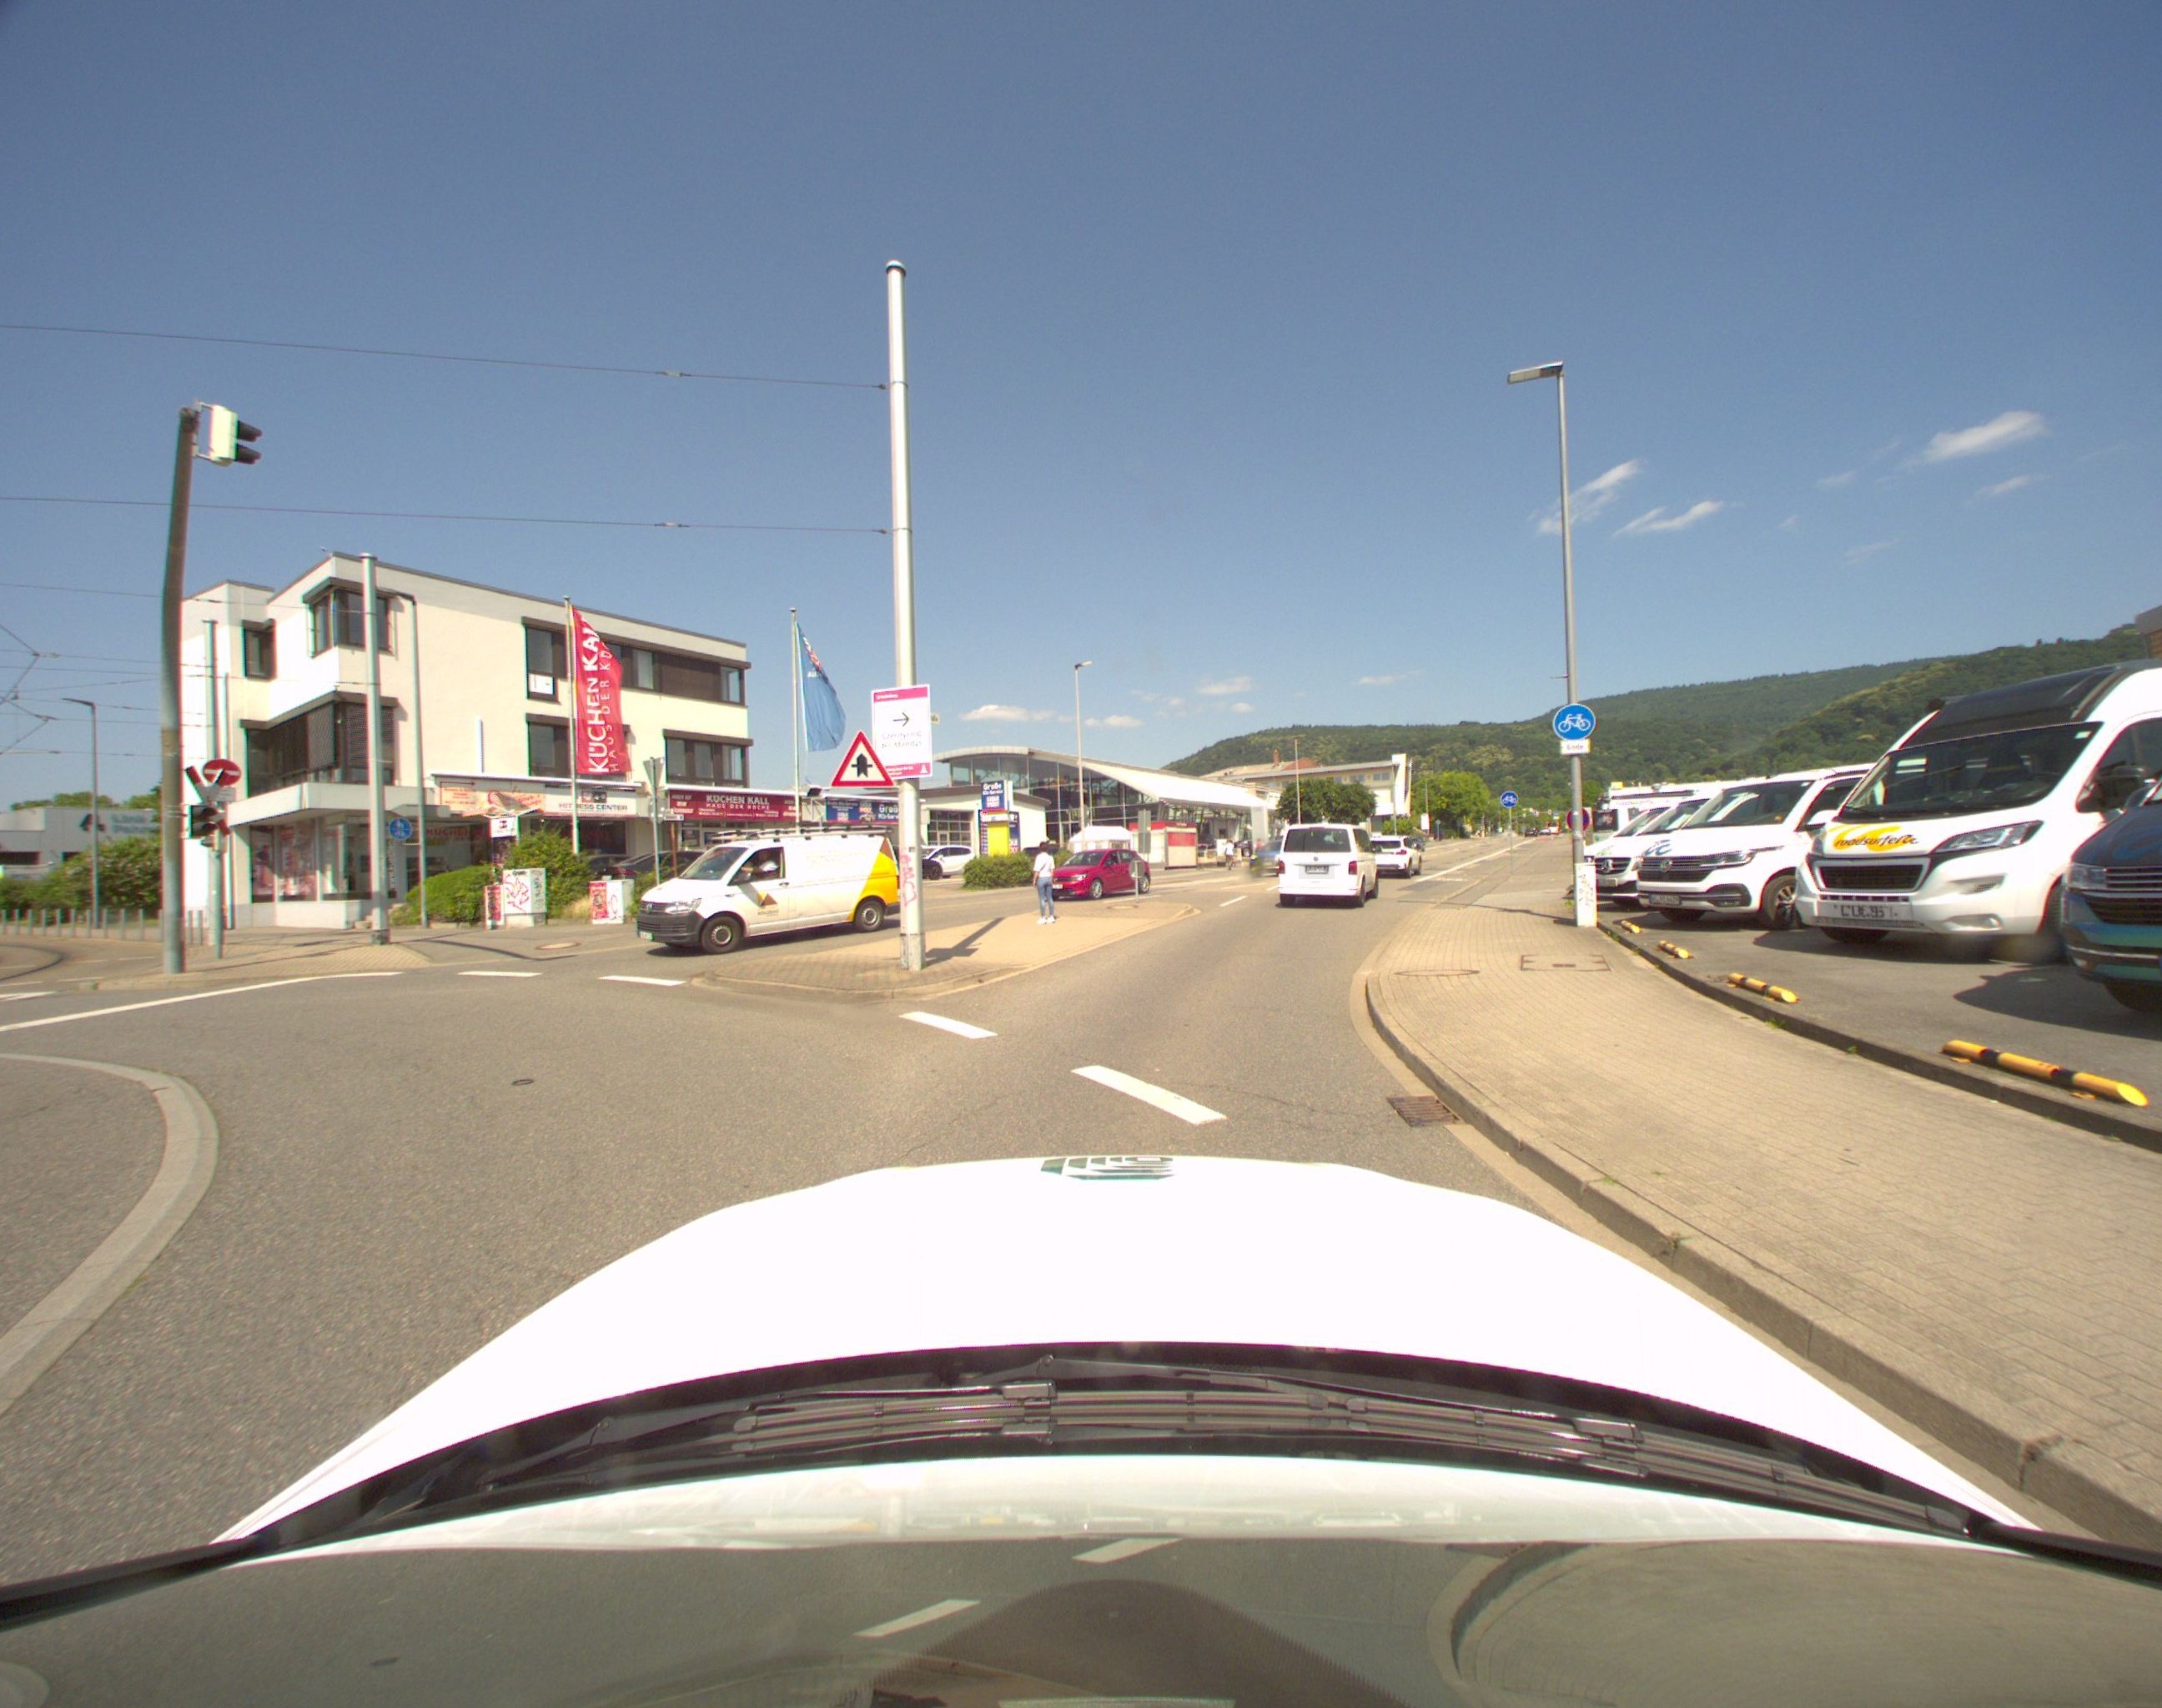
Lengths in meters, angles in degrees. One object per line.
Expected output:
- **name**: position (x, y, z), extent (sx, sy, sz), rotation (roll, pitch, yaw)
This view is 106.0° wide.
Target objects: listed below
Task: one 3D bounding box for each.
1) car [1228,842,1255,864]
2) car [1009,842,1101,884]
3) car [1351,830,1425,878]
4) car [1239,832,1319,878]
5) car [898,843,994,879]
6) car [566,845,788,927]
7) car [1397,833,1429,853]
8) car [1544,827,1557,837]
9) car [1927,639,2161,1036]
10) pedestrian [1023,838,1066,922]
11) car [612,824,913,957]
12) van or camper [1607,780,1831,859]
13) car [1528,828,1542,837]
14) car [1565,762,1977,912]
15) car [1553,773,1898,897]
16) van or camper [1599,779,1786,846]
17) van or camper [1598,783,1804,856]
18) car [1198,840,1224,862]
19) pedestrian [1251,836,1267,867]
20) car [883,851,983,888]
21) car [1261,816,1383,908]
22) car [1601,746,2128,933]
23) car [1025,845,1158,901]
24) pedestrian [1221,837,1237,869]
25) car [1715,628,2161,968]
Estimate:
- **car**: position (12.234, -0.079, 62.261), extent (1.735, 1.585, 3.669), rotation (-2, 0, 8)
- **car**: position (-1.099, 0.367, 36.020), extent (1.974, 1.618, 4.026), rotation (-3, 0, 35)
- **car**: position (12.025, -0.050, 31.739), extent (1.974, 1.707, 4.026), rotation (1, 2, 31)
- **car**: position (8.705, 0.010, 35.502), extent (1.890, 1.760, 4.480), rotation (-3, 0, 34)
- **car**: position (-6.649, 0.312, 40.688), extent (1.862, 1.588, 4.959), rotation (-4, -1, 31)
- **car**: position (-11.300, 0.808, 23.231), extent (1.940, 1.965, 5.315), rotation (-2, 0, 35)
- **car**: position (27.635, -0.952, 67.784), extent (1.823, 1.464, 4.026), rotation (-3, 0, 30)
- **car**: position (90.309, -4.271, 156.715), extent (1.974, 1.684, 4.026), rotation (-3, 0, 31)
- **car**: position (8.340, -0.292, 4.598), extent (5.205, 2.113, 2.092), rotation (-5, -2, -6)
- **pedestrian**: position (-0.766, 0.521, 16.781), extent (0.759, 1.656, 0.670), rotation (-2, 0, -10)
- **car**: position (-5.887, 0.533, 15.664), extent (2.002, 2.114, 4.966), rotation (-1, 1, 40)
- **van or camper**: position (24.121, -1.234, 31.303), extent (6.440, 2.561, 2.993), rotation (-2, 0, 33)
- **car**: position (71.459, -3.405, 128.175), extent (1.702, 1.303, 4.026), rotation (-3, 0, 31)
- **car**: position (11.266, -0.261, 13.611), extent (5.113, 2.013, 1.932), rotation (-3, 0, 2)
- **car**: position (12.605, -0.332, 16.237), extent (5.121, 2.094, 2.050), rotation (-2, -1, 2)
- **van or camper**: position (27.813, -1.812, 37.488), extent (6.541, 2.561, 3.422), rotation (-2, 0, 33)
- **van or camper**: position (25.764, -1.351, 34.352), extent (6.541, 2.561, 3.776), rotation (-2, 0, 33)
- **car**: position (9.917, -0.229, 61.873), extent (1.734, 1.585, 3.673), rotation (-2, 0, 12)
- **pedestrian**: position (10.774, -0.162, 49.196), extent (0.753, 1.788, 0.932), rotation (-2, 0, 20)
- **car**: position (-6.568, 0.669, 36.645), extent (2.007, 1.426, 4.345), rotation (-3, 1, 31)
- **car**: position (6.250, 0.164, 20.652), extent (2.142, 2.013, 5.047), rotation (-1, 0, 26)
- **car**: position (10.148, -0.184, 10.857), extent (5.129, 2.000, 2.023), rotation (-3, -1, -2)
- **car**: position (0.402, 0.519, 24.166), extent (1.823, 1.464, 4.170), rotation (-3, 0, 36)
- **pedestrian**: position (8.351, -0.060, 45.995), extent (0.754, 1.788, 0.788), rotation (-2, 0, 16)
- **car**: position (10.145, -0.590, 8.043), extent (6.126, 2.717, 2.303), rotation (-3, 0, -5)
